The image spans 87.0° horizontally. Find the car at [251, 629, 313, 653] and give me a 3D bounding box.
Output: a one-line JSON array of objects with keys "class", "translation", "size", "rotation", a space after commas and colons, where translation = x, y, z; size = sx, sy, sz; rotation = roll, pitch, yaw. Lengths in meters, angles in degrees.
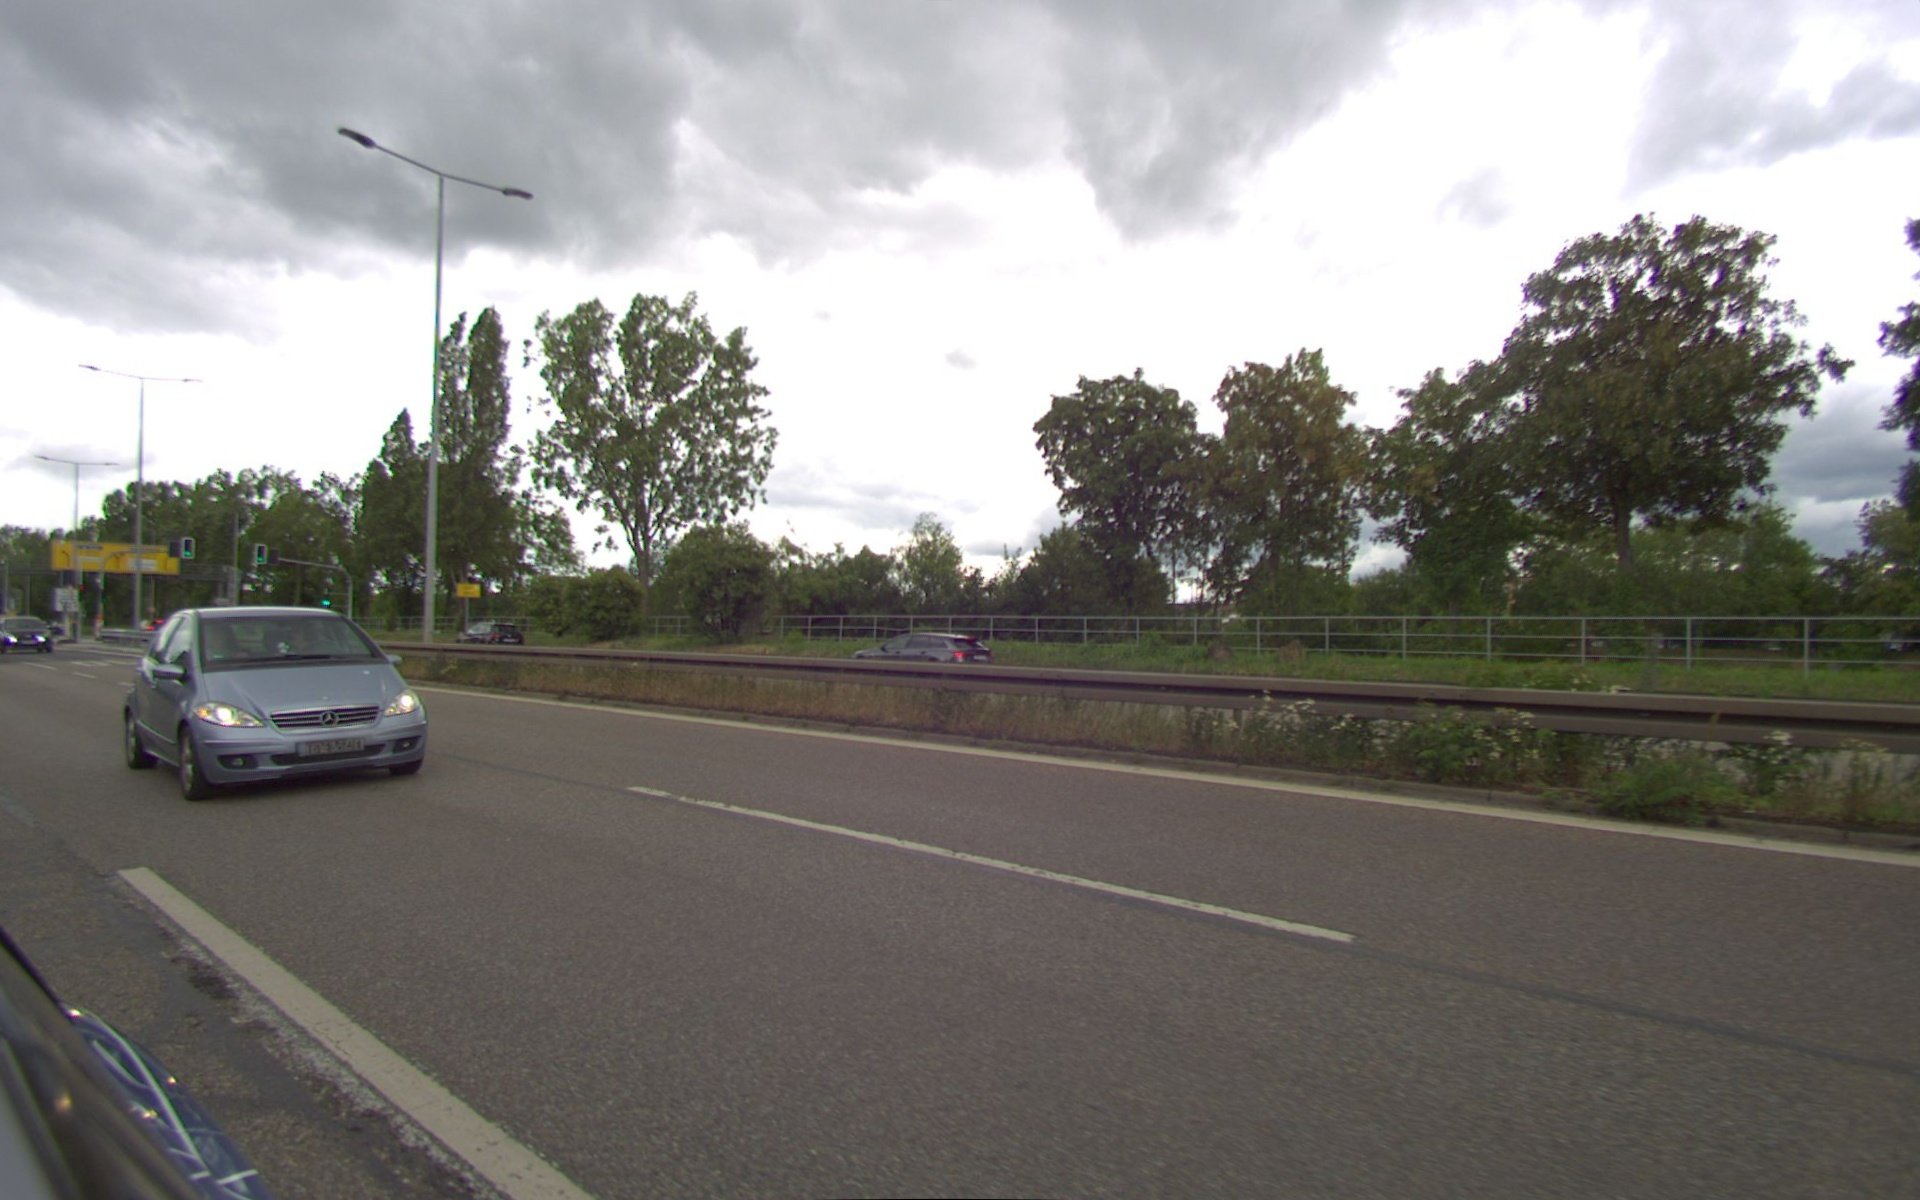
[{"class": "car", "translation": [-33.344, 2.021, 49.742], "size": [4.064, 1.114, 1.529], "rotation": [-2, -3, 41]}]

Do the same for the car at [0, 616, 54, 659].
[{"class": "car", "translation": [-39.359, 1.566, 42.137], "size": [4.143, 1.738, 1.859], "rotation": [-2, -3, 40]}]

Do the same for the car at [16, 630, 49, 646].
[{"class": "car", "translation": [-91.342, 3.735, 99.661], "size": [4.998, 1.537, 1.680], "rotation": [-2, -5, 40]}]

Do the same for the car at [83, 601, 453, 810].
[{"class": "car", "translation": [-6.678, 0.863, 9.608], "size": [4.143, 1.551, 1.859], "rotation": [-2, -3, 40]}]

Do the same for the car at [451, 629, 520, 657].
[{"class": "car", "translation": [-23.018, 2.087, 49.026], "size": [4.059, 1.309, 1.562], "rotation": [-2, -3, 41]}]

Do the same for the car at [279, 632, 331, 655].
[{"class": "car", "translation": [-42.405, 2.799, 65.479], "size": [4.064, 1.429, 1.758], "rotation": [-2, -3, 41]}]

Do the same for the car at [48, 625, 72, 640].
[{"class": "car", "translation": [-95.755, 3.504, 107.661], "size": [2.631, 1.487, 1.489], "rotation": [-2, -5, 41]}]

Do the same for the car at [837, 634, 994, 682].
[{"class": "car", "translation": [-1.380, 1.660, 29.650], "size": [4.784, 1.309, 1.643], "rotation": [-2, -3, 40]}]
